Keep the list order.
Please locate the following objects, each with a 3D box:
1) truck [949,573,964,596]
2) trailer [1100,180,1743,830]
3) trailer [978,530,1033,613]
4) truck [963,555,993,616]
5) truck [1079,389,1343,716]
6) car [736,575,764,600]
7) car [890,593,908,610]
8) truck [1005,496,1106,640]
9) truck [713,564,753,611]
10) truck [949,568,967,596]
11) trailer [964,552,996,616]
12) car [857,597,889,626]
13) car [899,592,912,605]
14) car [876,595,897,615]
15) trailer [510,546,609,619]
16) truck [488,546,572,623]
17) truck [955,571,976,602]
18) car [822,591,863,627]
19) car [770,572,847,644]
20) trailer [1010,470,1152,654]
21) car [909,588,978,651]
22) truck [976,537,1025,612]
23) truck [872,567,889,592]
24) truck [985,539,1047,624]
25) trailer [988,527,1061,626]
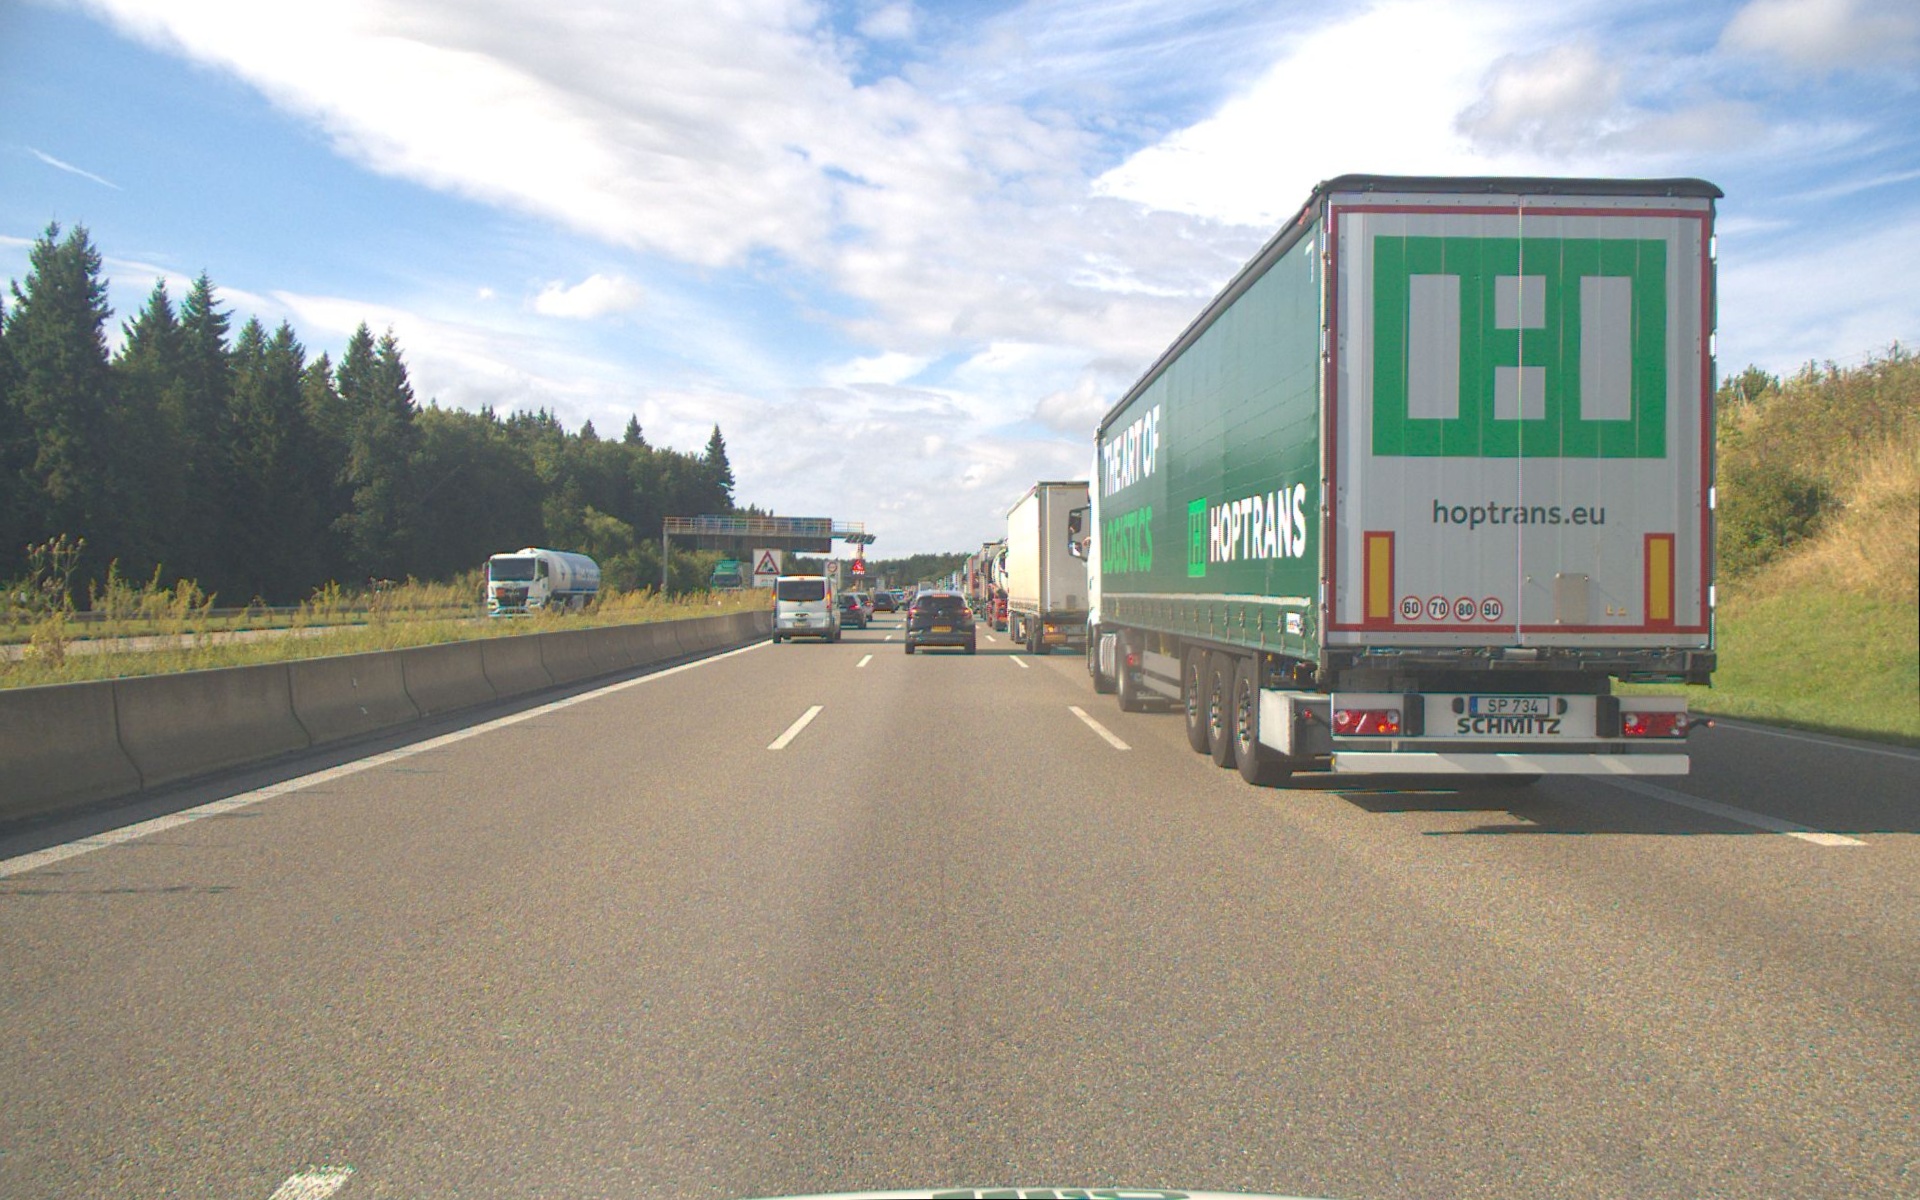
[{"bbox_3d":[-0.500,-2.235,238.531,1.953,3.105,4.981,3,0,0],"label":"truck"},{"bbox_3d":[3.384,-0.569,16.757,2.607,3.936,13.392,0,0,-1],"label":"trailer"},{"bbox_3d":[2.433,-1.470,91.872,2.745,4.318,11.056,0,0,0],"label":"trailer"},{"bbox_3d":[1.330,-1.037,122.543,2.090,4.357,6.338,0,0,0],"label":"truck"},{"bbox_3d":[3.296,-0.572,23.539,2.593,3.936,6.995,0,0,-1],"label":"truck"},{"bbox_3d":[-17.060,-1.019,134.673,1.724,1.914,3.999,3,0,-1],"label":"car"},{"bbox_3d":[-5.101,0.137,138.441,1.406,1.333,3.532,3,0,-1],"label":"car"},{"bbox_3d":[2.836,-0.926,50.935,2.653,4.131,6.360,0,0,-1],"label":"truck"},{"bbox_3d":[-21.549,-1.165,157.317,2.656,4.318,10.341,0,0,-2],"label":"truck"},{"bbox_3d":[-0.205,-2.124,194.629,1.953,3.105,4.981,3,0,0],"label":"truck"},{"bbox_3d":[1.352,-1.076,117.276,2.106,4.333,8.439,0,0,0],"label":"trailer"},{"bbox_3d":[-4.553,0.593,86.472,1.470,1.420,3.475,3,0,-1],"label":"car"},{"bbox_3d":[-5.909,-0.141,180.491,1.333,1.323,3.084,3,0,-1],"label":"car"},{"bbox_3d":[-5.379,0.354,121.180,1.406,1.333,3.532,3,0,-1],"label":"car"},{"bbox_3d":[-19.535,-0.821,81.360,2.274,3.342,10.874,0,0,0],"label":"trailer"},{"bbox_3d":[-19.494,-0.684,75.282,2.270,3.331,6.104,0,0,0],"label":"truck"},{"bbox_3d":[0.546,-1.371,167.521,1.953,2.983,4.981,3,0,0],"label":"truck"},{"bbox_3d":[-4.829,0.379,68.253,1.469,1.420,3.475,1,0,-1],"label":"car"},{"bbox_3d":[-4.650,0.238,51.390,1.894,2.013,5.097,3,0,-1],"label":"car"},{"bbox_3d":[2.929,-0.890,43.956,2.648,4.153,12.942,0,0,-1],"label":"trailer"},{"bbox_3d":[-0.431,0.482,42.145,1.662,1.509,4.159,1,0,-1],"label":"car"},{"bbox_3d":[2.381,-1.479,98.910,2.729,4.321,6.459,0,0,0],"label":"truck"},{"bbox_3d":[-12.533,-3.219,260.015,2.296,3.657,6.304,3,0,-1],"label":"truck"},{"bbox_3d":[2.447,-0.809,74.287,2.482,3.646,6.728,0,0,-1],"label":"truck"},{"bbox_3d":[2.526,-0.866,67.606,2.489,3.718,10.625,0,0,-1],"label":"trailer"}]
